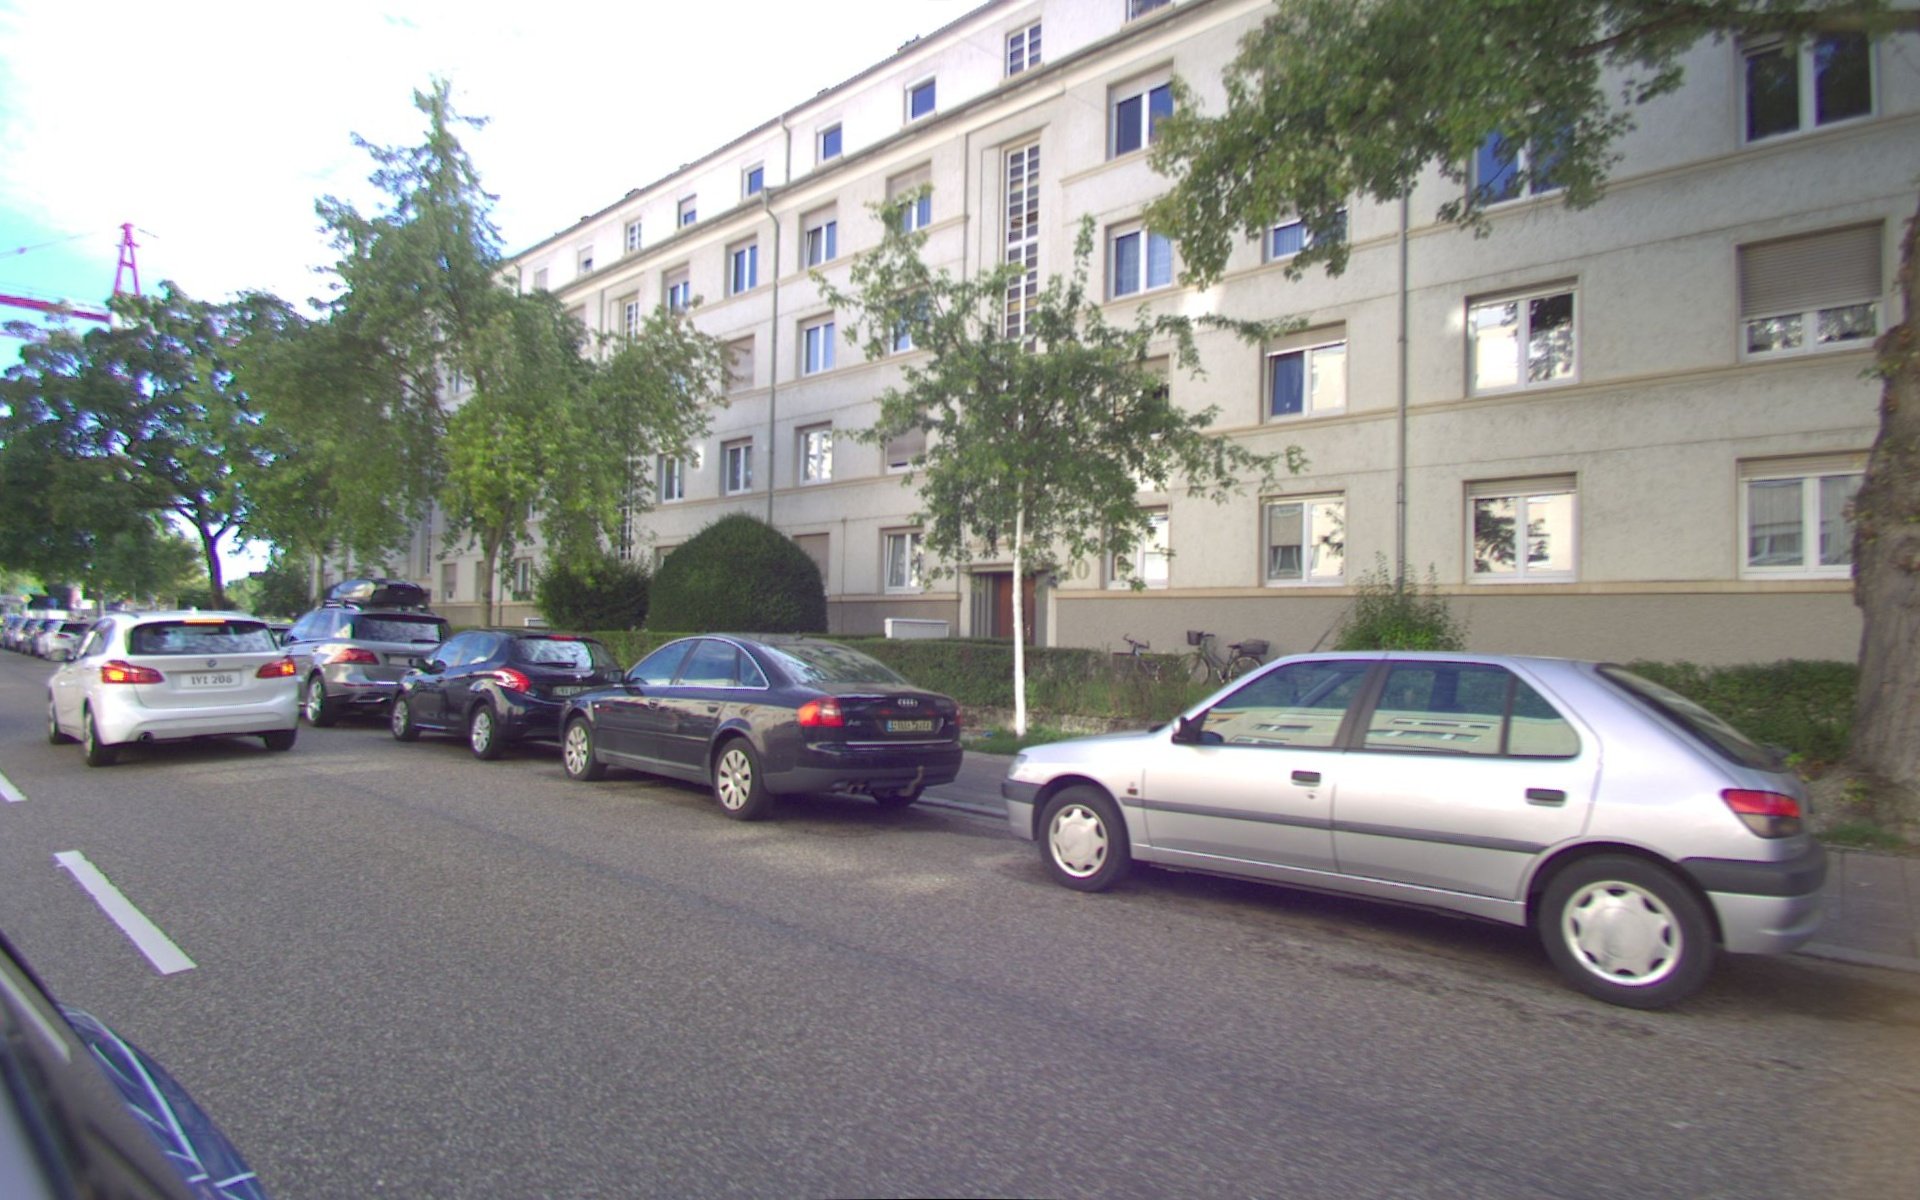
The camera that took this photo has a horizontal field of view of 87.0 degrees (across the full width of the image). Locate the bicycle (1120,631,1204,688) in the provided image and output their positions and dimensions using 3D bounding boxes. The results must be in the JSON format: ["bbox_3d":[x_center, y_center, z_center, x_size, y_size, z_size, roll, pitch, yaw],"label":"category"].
[{"bbox_3d":[3.942,1.148,19.816,1.540,1.064,0.536,-1,-2,41],"label":"bicycle"}]

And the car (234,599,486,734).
[{"bbox_3d":[-9.549,0.997,15.919,4.968,1.807,1.857,-1,-5,41],"label":"car"}]

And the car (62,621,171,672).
[{"bbox_3d":[-26.630,1.444,31.891,4.681,1.497,1.836,-1,-4,41],"label":"car"}]

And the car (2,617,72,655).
[{"bbox_3d":[-40.008,1.549,43.837,4.368,1.497,1.801,-1,-5,42],"label":"car"}]

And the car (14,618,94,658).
[{"bbox_3d":[-36.031,1.515,40.191,4.682,1.497,1.835,-1,-3,42],"label":"car"}]

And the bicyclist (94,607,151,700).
[{"bbox_3d":[-15.099,0.947,18.241,0.990,1.613,0.634,-1,-2,42],"label":"bicyclist"}]

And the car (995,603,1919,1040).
[{"bbox_3d":[2.230,0.820,5.237,3.962,1.429,1.583,-1,-6,42],"label":"car"}]

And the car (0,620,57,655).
[{"bbox_3d":[-43.794,1.740,47.102,4.417,1.497,1.907,-1,-5,40],"label":"car"}]

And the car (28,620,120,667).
[{"bbox_3d":[-32.055,1.564,36.554,4.797,1.497,1.835,-1,-6,42],"label":"car"}]

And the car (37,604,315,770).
[{"bbox_3d":[-8.967,0.875,11.450,4.010,1.540,1.838,-2,-3,43],"label":"car"}]

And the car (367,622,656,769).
[{"bbox_3d":[-5.616,1.087,12.434,4.119,1.492,1.667,-1,-6,43],"label":"car"}]

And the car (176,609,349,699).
[{"bbox_3d":[-13.876,1.045,20.028,4.460,1.585,1.835,-1,-4,43],"label":"car"}]

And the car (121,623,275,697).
[{"bbox_3d":[-17.692,1.349,23.399,4.943,1.497,1.835,-1,-6,42],"label":"car"}]

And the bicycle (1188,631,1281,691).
[{"bbox_3d":[5.076,1.113,18.739,1.577,1.057,0.562,-1,-2,41],"label":"bicycle"}]

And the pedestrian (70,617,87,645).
[{"bbox_3d":[-57.853,2.026,66.431,0.775,1.781,0.734,-1,-2,41],"label":"pedestrian"}]

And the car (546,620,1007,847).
[{"bbox_3d":[-1.820,0.993,8.870,4.454,1.492,1.666,-1,-6,45],"label":"car"}]

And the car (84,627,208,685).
[{"bbox_3d":[-21.807,1.467,27.049,4.664,1.404,1.720,-1,-5,41],"label":"car"}]

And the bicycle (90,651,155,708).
[{"bbox_3d":[-15.045,1.406,18.160,1.857,0.930,0.635,-1,-2,42],"label":"bicycle"}]
